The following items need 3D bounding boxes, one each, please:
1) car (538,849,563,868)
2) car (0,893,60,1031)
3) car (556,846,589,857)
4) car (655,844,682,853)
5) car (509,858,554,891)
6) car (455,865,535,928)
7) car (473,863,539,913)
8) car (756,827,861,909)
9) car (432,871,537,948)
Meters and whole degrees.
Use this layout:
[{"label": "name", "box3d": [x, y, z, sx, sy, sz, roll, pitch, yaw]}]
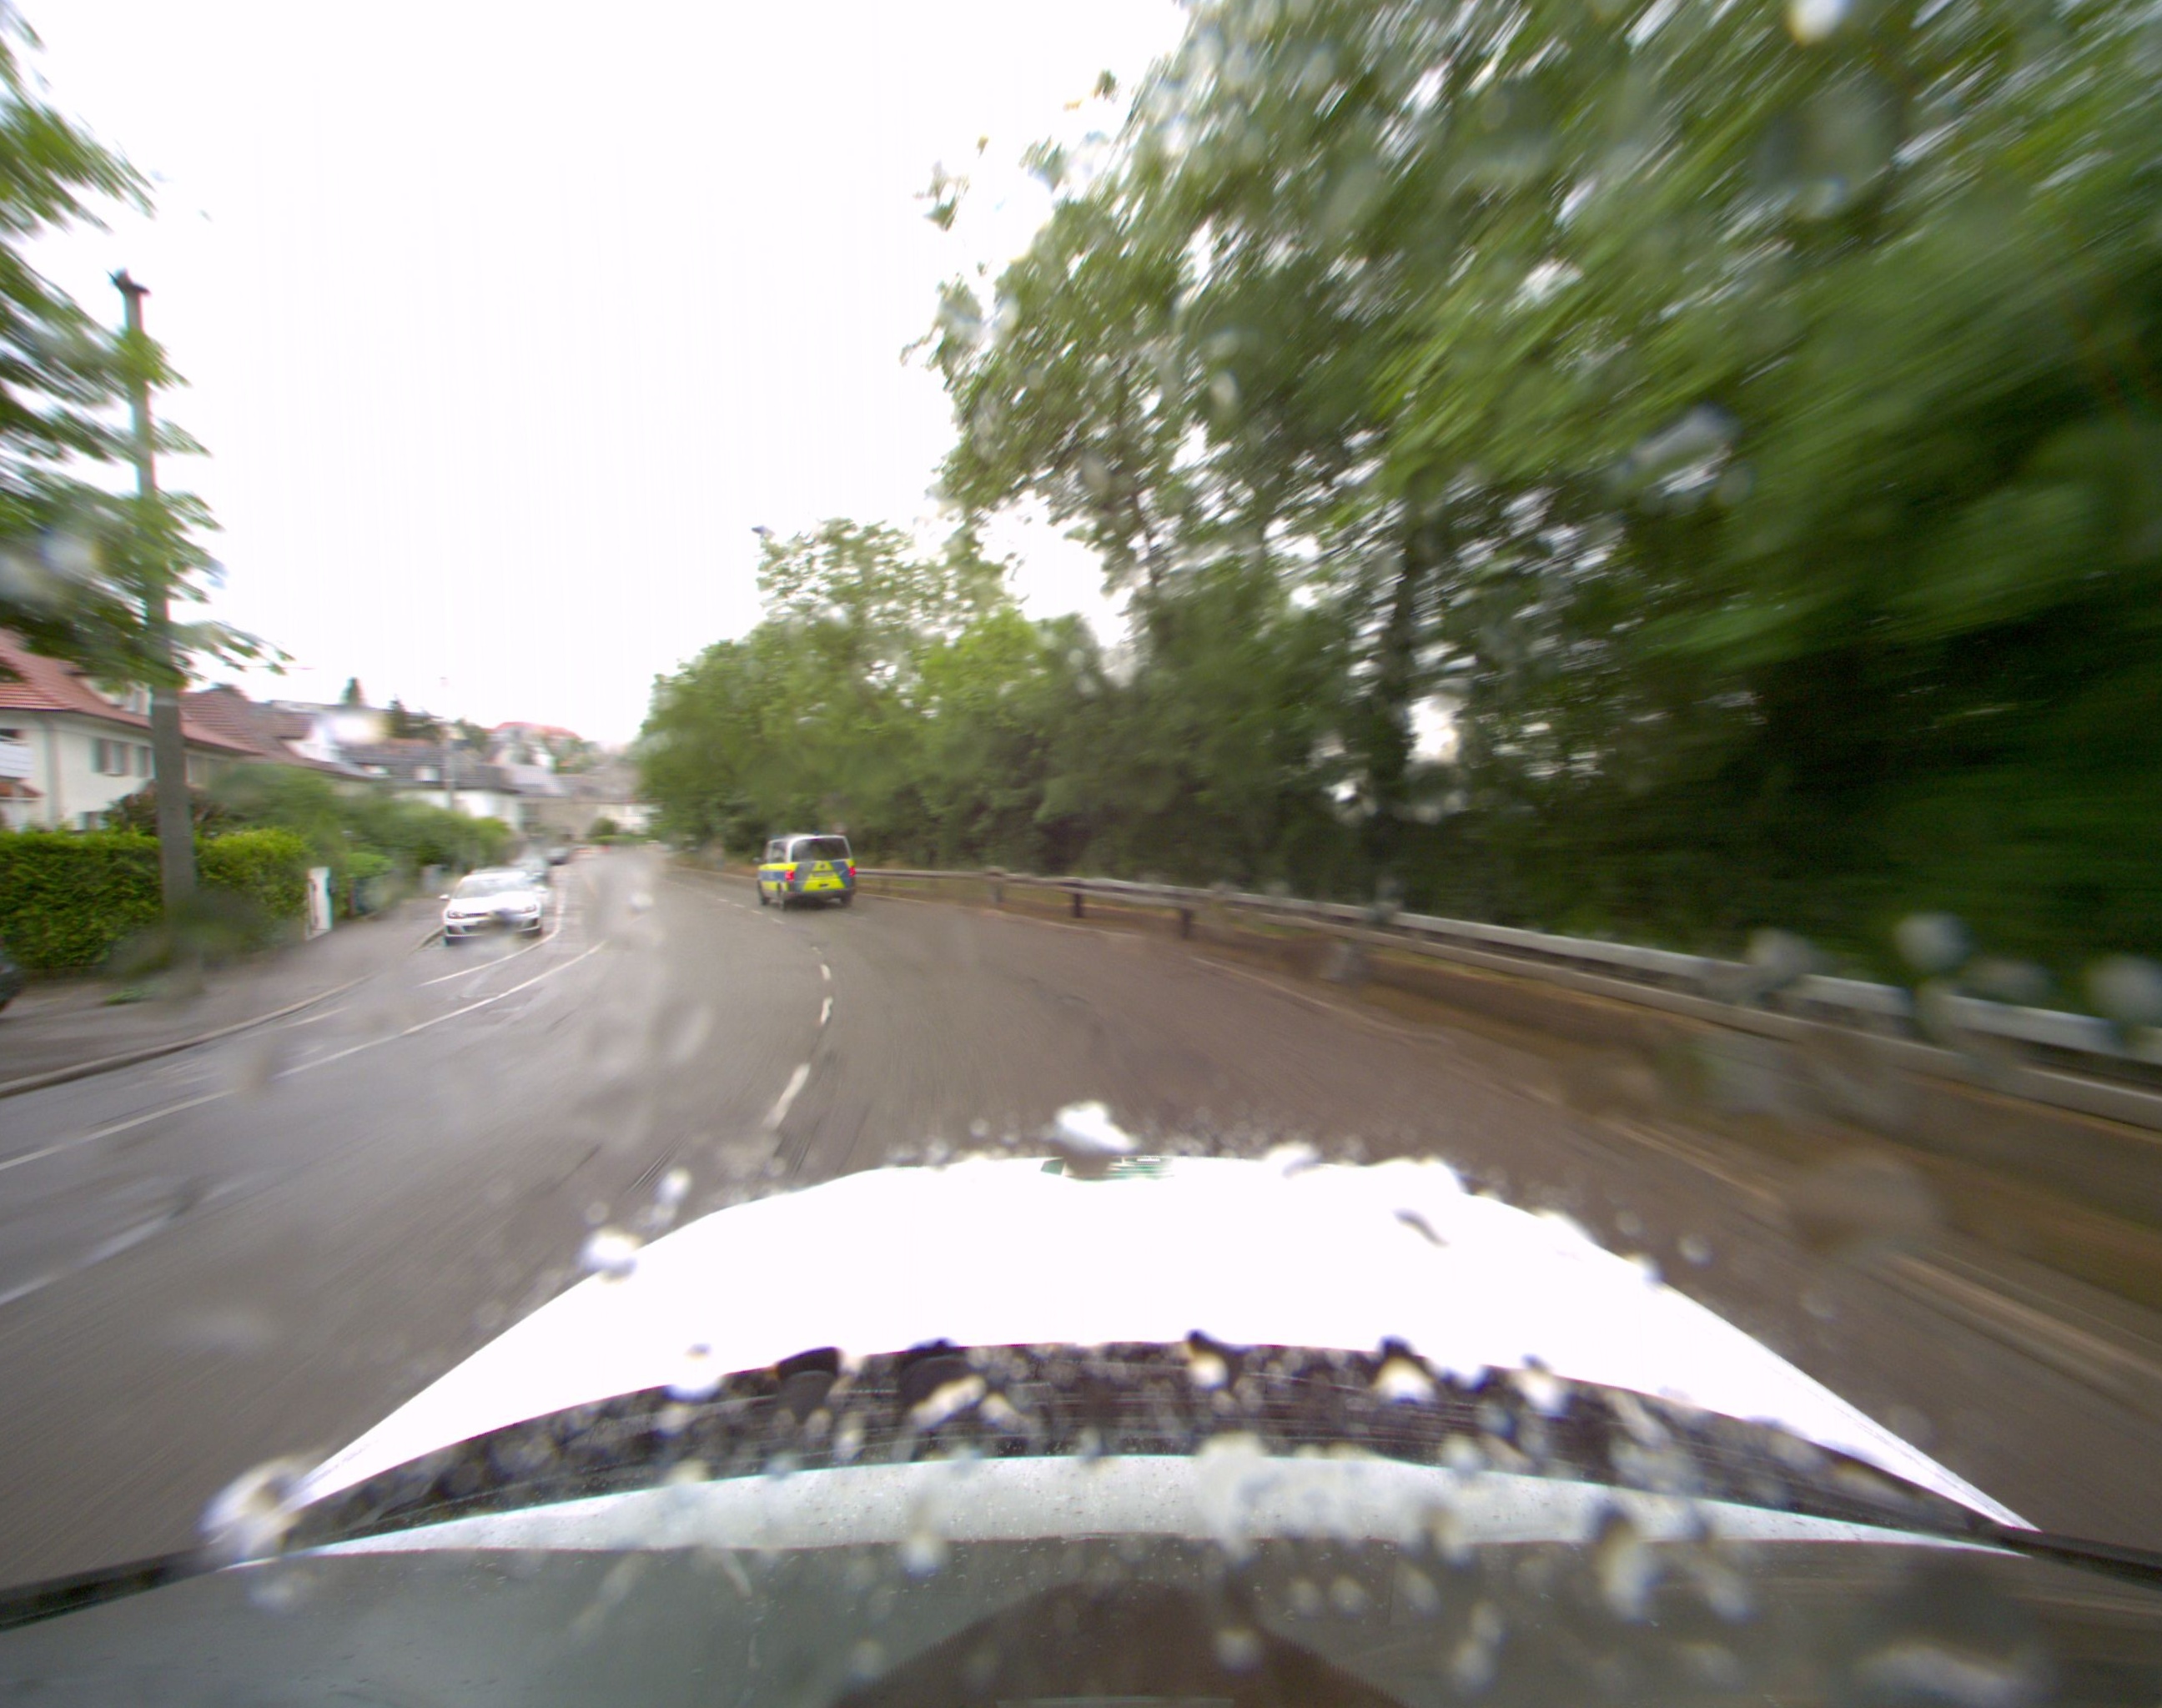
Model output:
[{"label": "car", "box3d": [-51.720, 0.391, 79.486, 1.766, 1.658, 4.362, -3, 3, -31]}, {"label": "car", "box3d": [-13.936, 1.220, 8.711, 3.363, 1.520, 1.802, 2, -2, -37]}, {"label": "car", "box3d": [-71.697, -0.329, 114.827, 3.954, 1.443, 1.849, 1, 1, 19]}, {"label": "car", "box3d": [-74.839, -0.993, 147.902, 3.978, 1.486, 1.758, 1, -1, -3]}, {"label": "car", "box3d": [-27.345, 0.965, 40.485, 1.700, 1.418, 4.170, -4, 3, -35]}, {"label": "car", "box3d": [-17.036, 1.152, 23.817, 1.710, 1.524, 4.376, -2, 1, -34]}, {"label": "car", "box3d": [-19.556, 1.101, 27.818, 1.710, 1.468, 3.672, -2, 1, -34]}, {"label": "car", "box3d": [-7.744, 0.379, 22.879, 2.006, 2.013, 4.360, -3, 0, -29]}, {"label": "car", "box3d": [-13.821, 1.195, 19.061, 1.745, 1.421, 4.238, -3, 2, -34]}]
